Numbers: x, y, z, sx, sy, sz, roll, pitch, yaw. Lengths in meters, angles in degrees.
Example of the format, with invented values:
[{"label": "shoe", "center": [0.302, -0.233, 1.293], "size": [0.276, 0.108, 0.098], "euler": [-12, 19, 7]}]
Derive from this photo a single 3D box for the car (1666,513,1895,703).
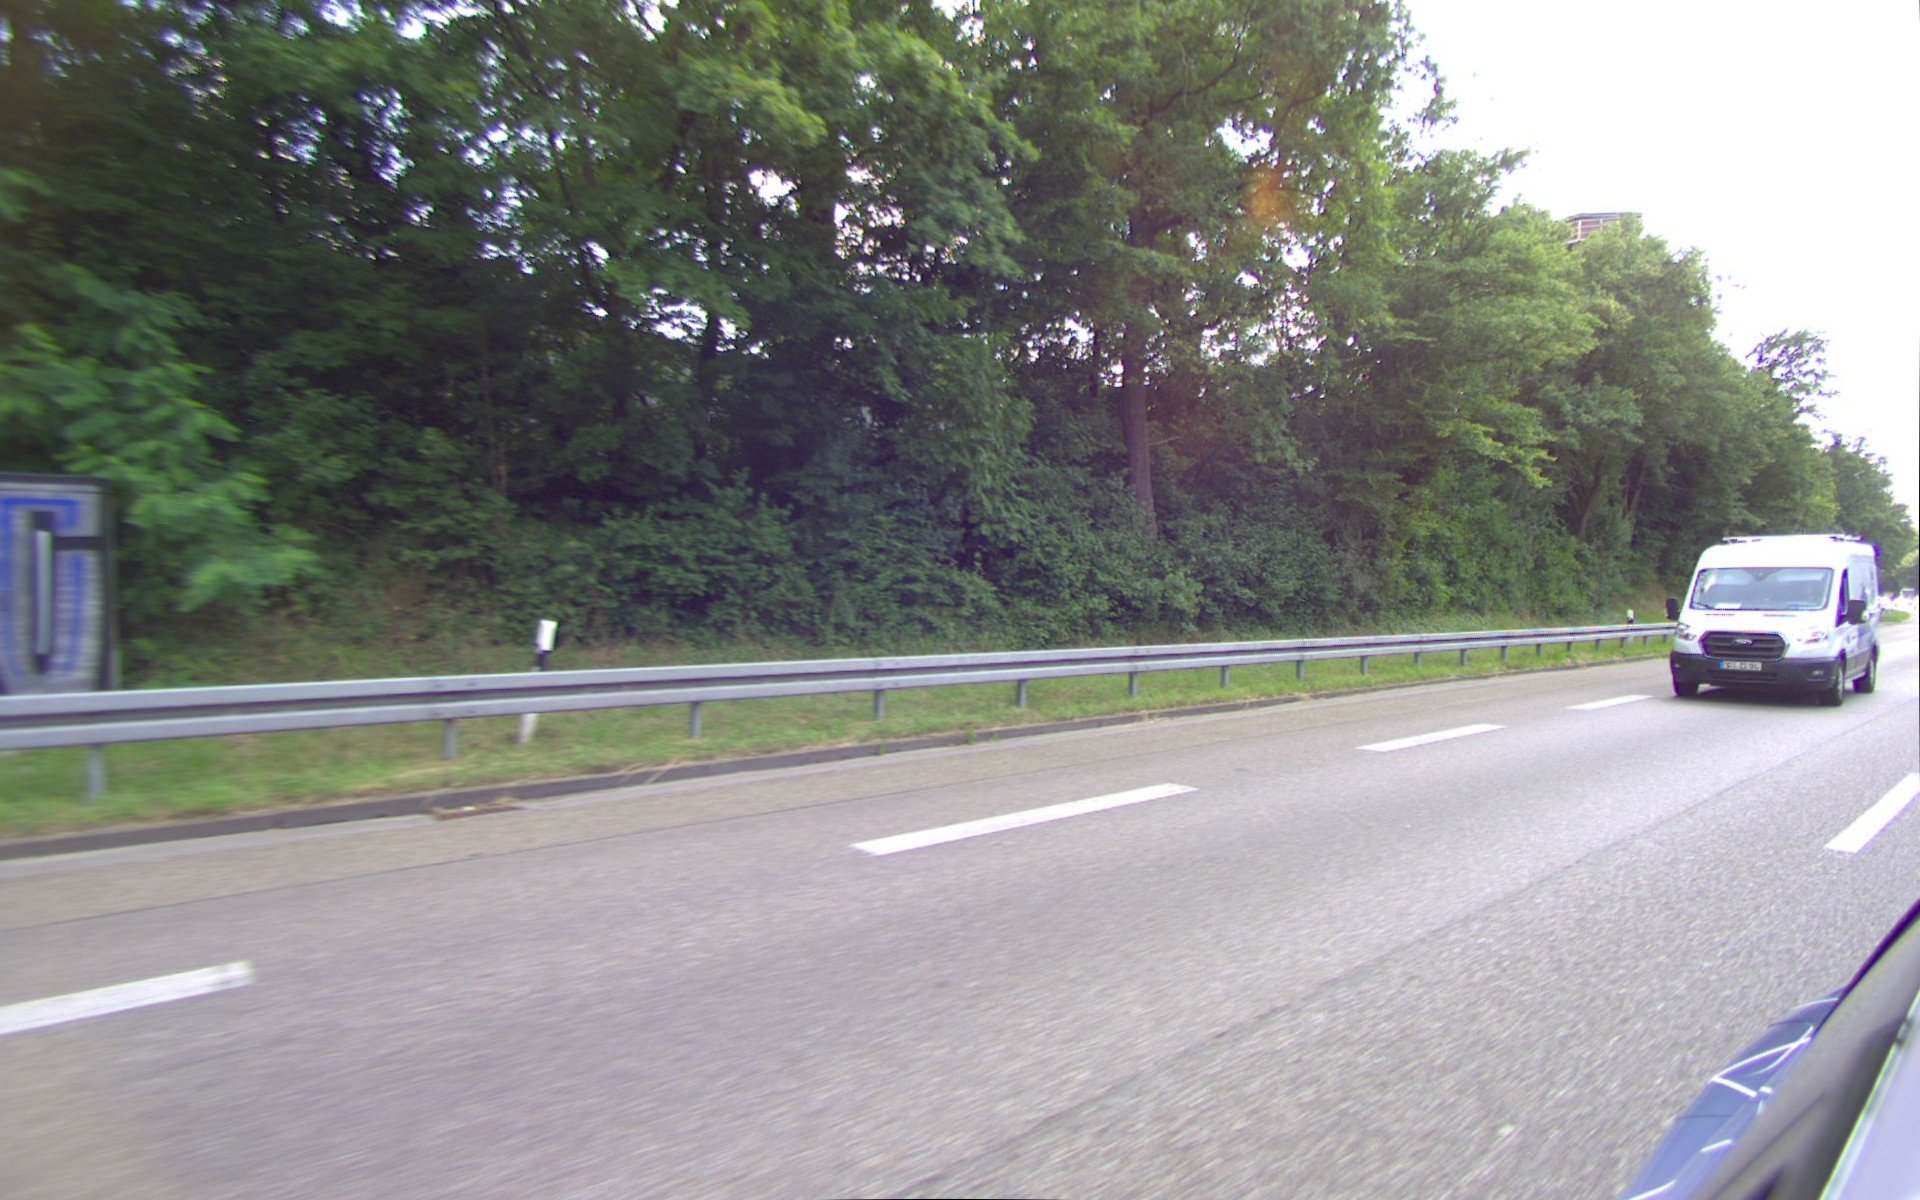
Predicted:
[{"label": "car", "center": [13.155, 0.089, 16.087], "size": [5.190, 2.539, 2.101], "euler": [0, 0, -43]}]
